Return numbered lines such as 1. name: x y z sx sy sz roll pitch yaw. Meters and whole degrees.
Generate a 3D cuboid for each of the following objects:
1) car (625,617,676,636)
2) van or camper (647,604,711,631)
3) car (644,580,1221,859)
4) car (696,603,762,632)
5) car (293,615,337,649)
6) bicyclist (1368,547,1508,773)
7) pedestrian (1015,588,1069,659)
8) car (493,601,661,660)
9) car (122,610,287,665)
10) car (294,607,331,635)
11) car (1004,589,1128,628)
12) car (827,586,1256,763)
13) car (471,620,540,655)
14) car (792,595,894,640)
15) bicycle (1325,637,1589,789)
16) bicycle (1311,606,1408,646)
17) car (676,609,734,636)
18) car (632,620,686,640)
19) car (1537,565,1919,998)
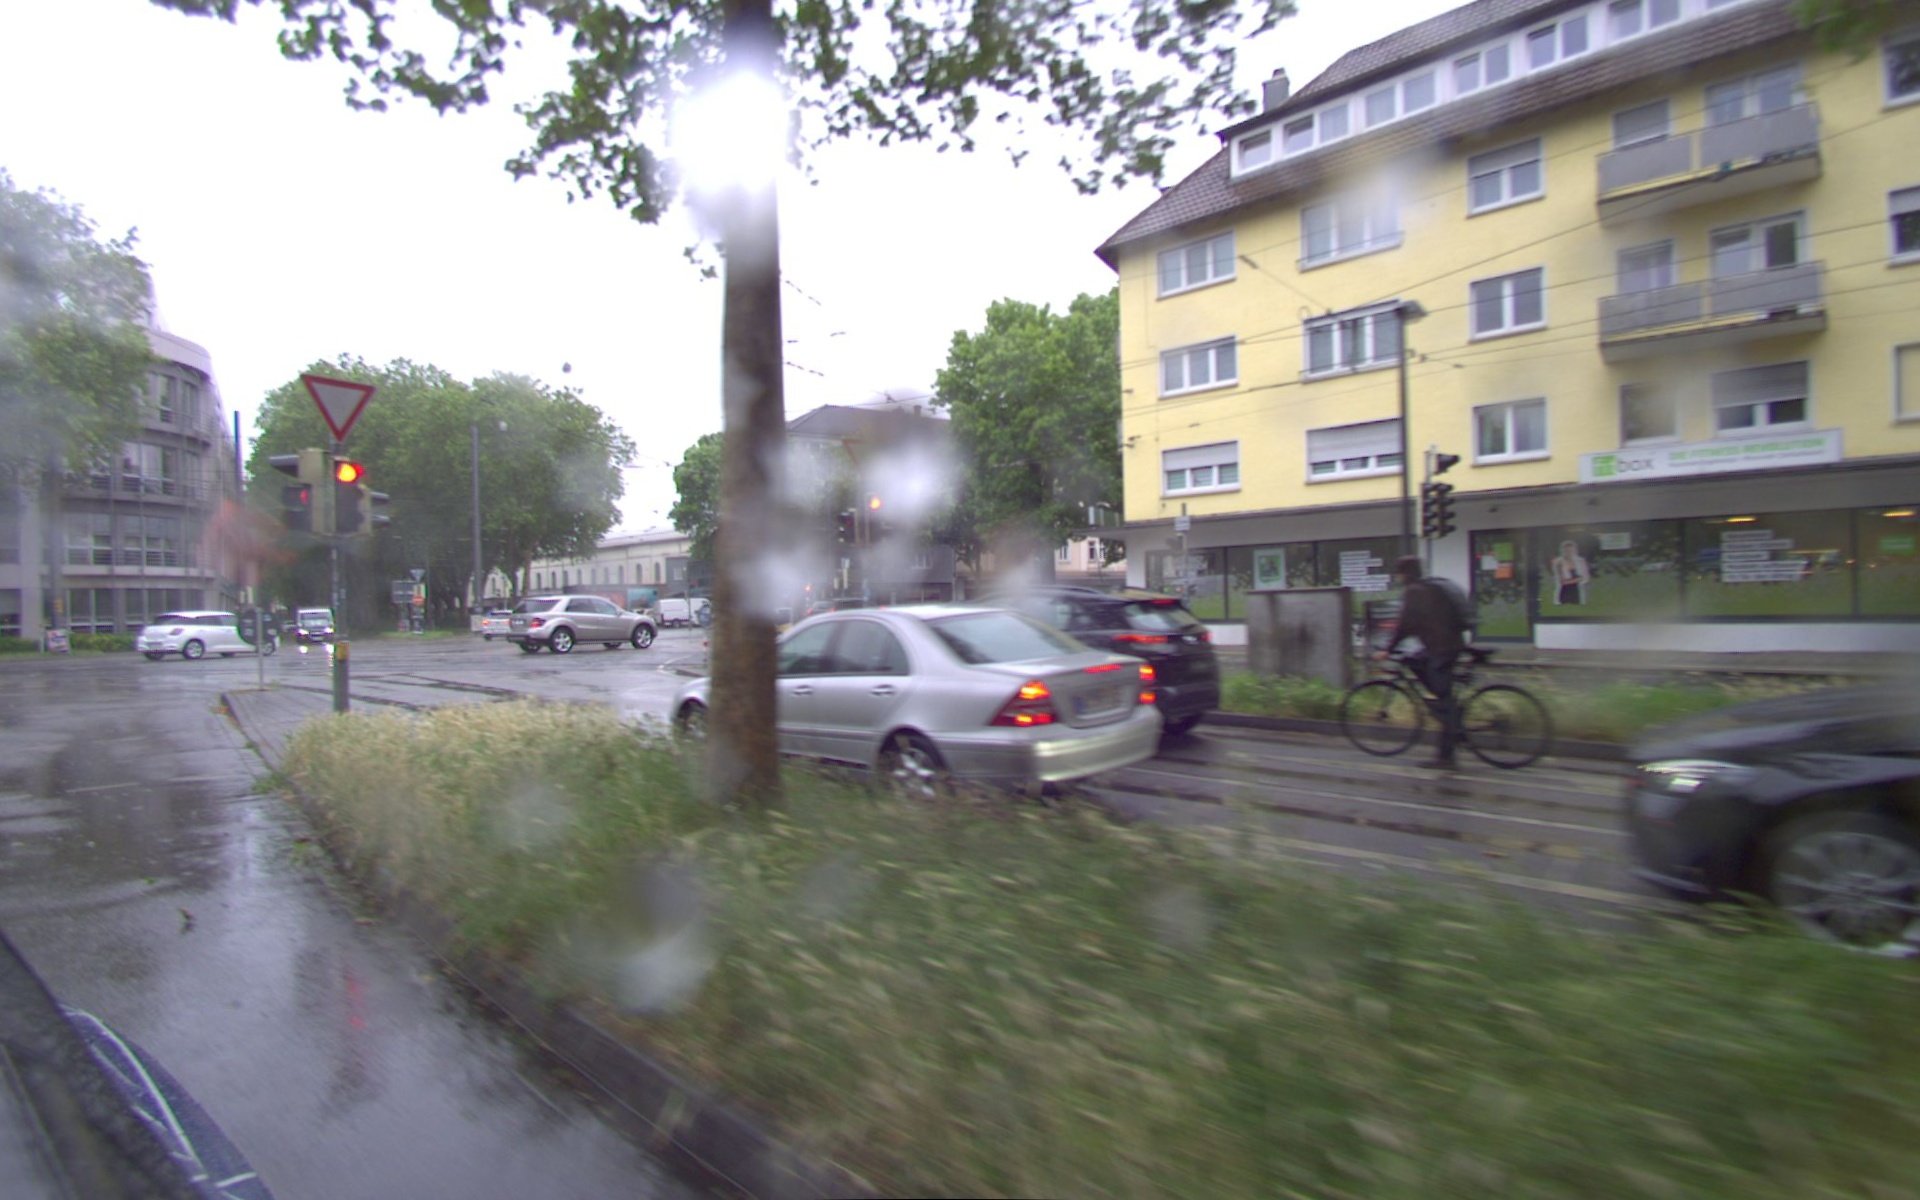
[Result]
1. car: -27.553 2.321 90.044 3.933 1.626 2.005 2 -2 -35
2. van or camper: -22.598 1.404 81.365 4.578 2.091 2.005 1 -1 -36
3. car: -0.482 0.689 7.685 4.502 1.500 1.715 -2 0 44
4. car: -17.203 1.271 75.335 4.322 2.029 2.074 -1 1 -29
5. car: -38.349 1.873 60.254 1.772 1.785 4.013 -3 1 -27
6. bicyclist: 3.923 0.456 8.315 0.889 1.729 0.705 0 0 41
7. pedestrian: 2.013 0.563 24.776 1.000 1.690 0.817 -1 -1 -33
8. car: -11.909 0.882 31.741 1.912 1.659 4.619 0 1 39
9. car: -24.080 1.156 32.456 1.789 1.599 4.057 -1 0 13
10. car: -42.179 1.346 65.882 1.971 1.785 4.011 0 -1 -33
11. car: 4.550 0.356 43.514 4.956 1.485 1.985 -2 0 23
12. car: 0.731 0.684 10.813 4.280 1.513 1.855 -2 0 40
13. car: -22.536 1.841 50.360 1.785 1.548 4.195 -1 0 -4
14. car: -4.801 0.690 41.999 1.806 1.722 4.136 0 1 39
15. bicycle: 4.004 0.854 8.245 1.815 1.039 0.710 0 0 41
16. bicycle: 9.461 0.602 24.031 0.605 0.903 2.047 -1 -1 -45
17. car: -20.105 1.758 79.764 3.940 2.029 2.002 -1 0 -43
18. car: -25.442 2.565 85.579 3.933 1.626 2.005 2 -2 -35
19. car: 4.766 0.582 3.335 4.642 1.496 1.836 -2 0 45
